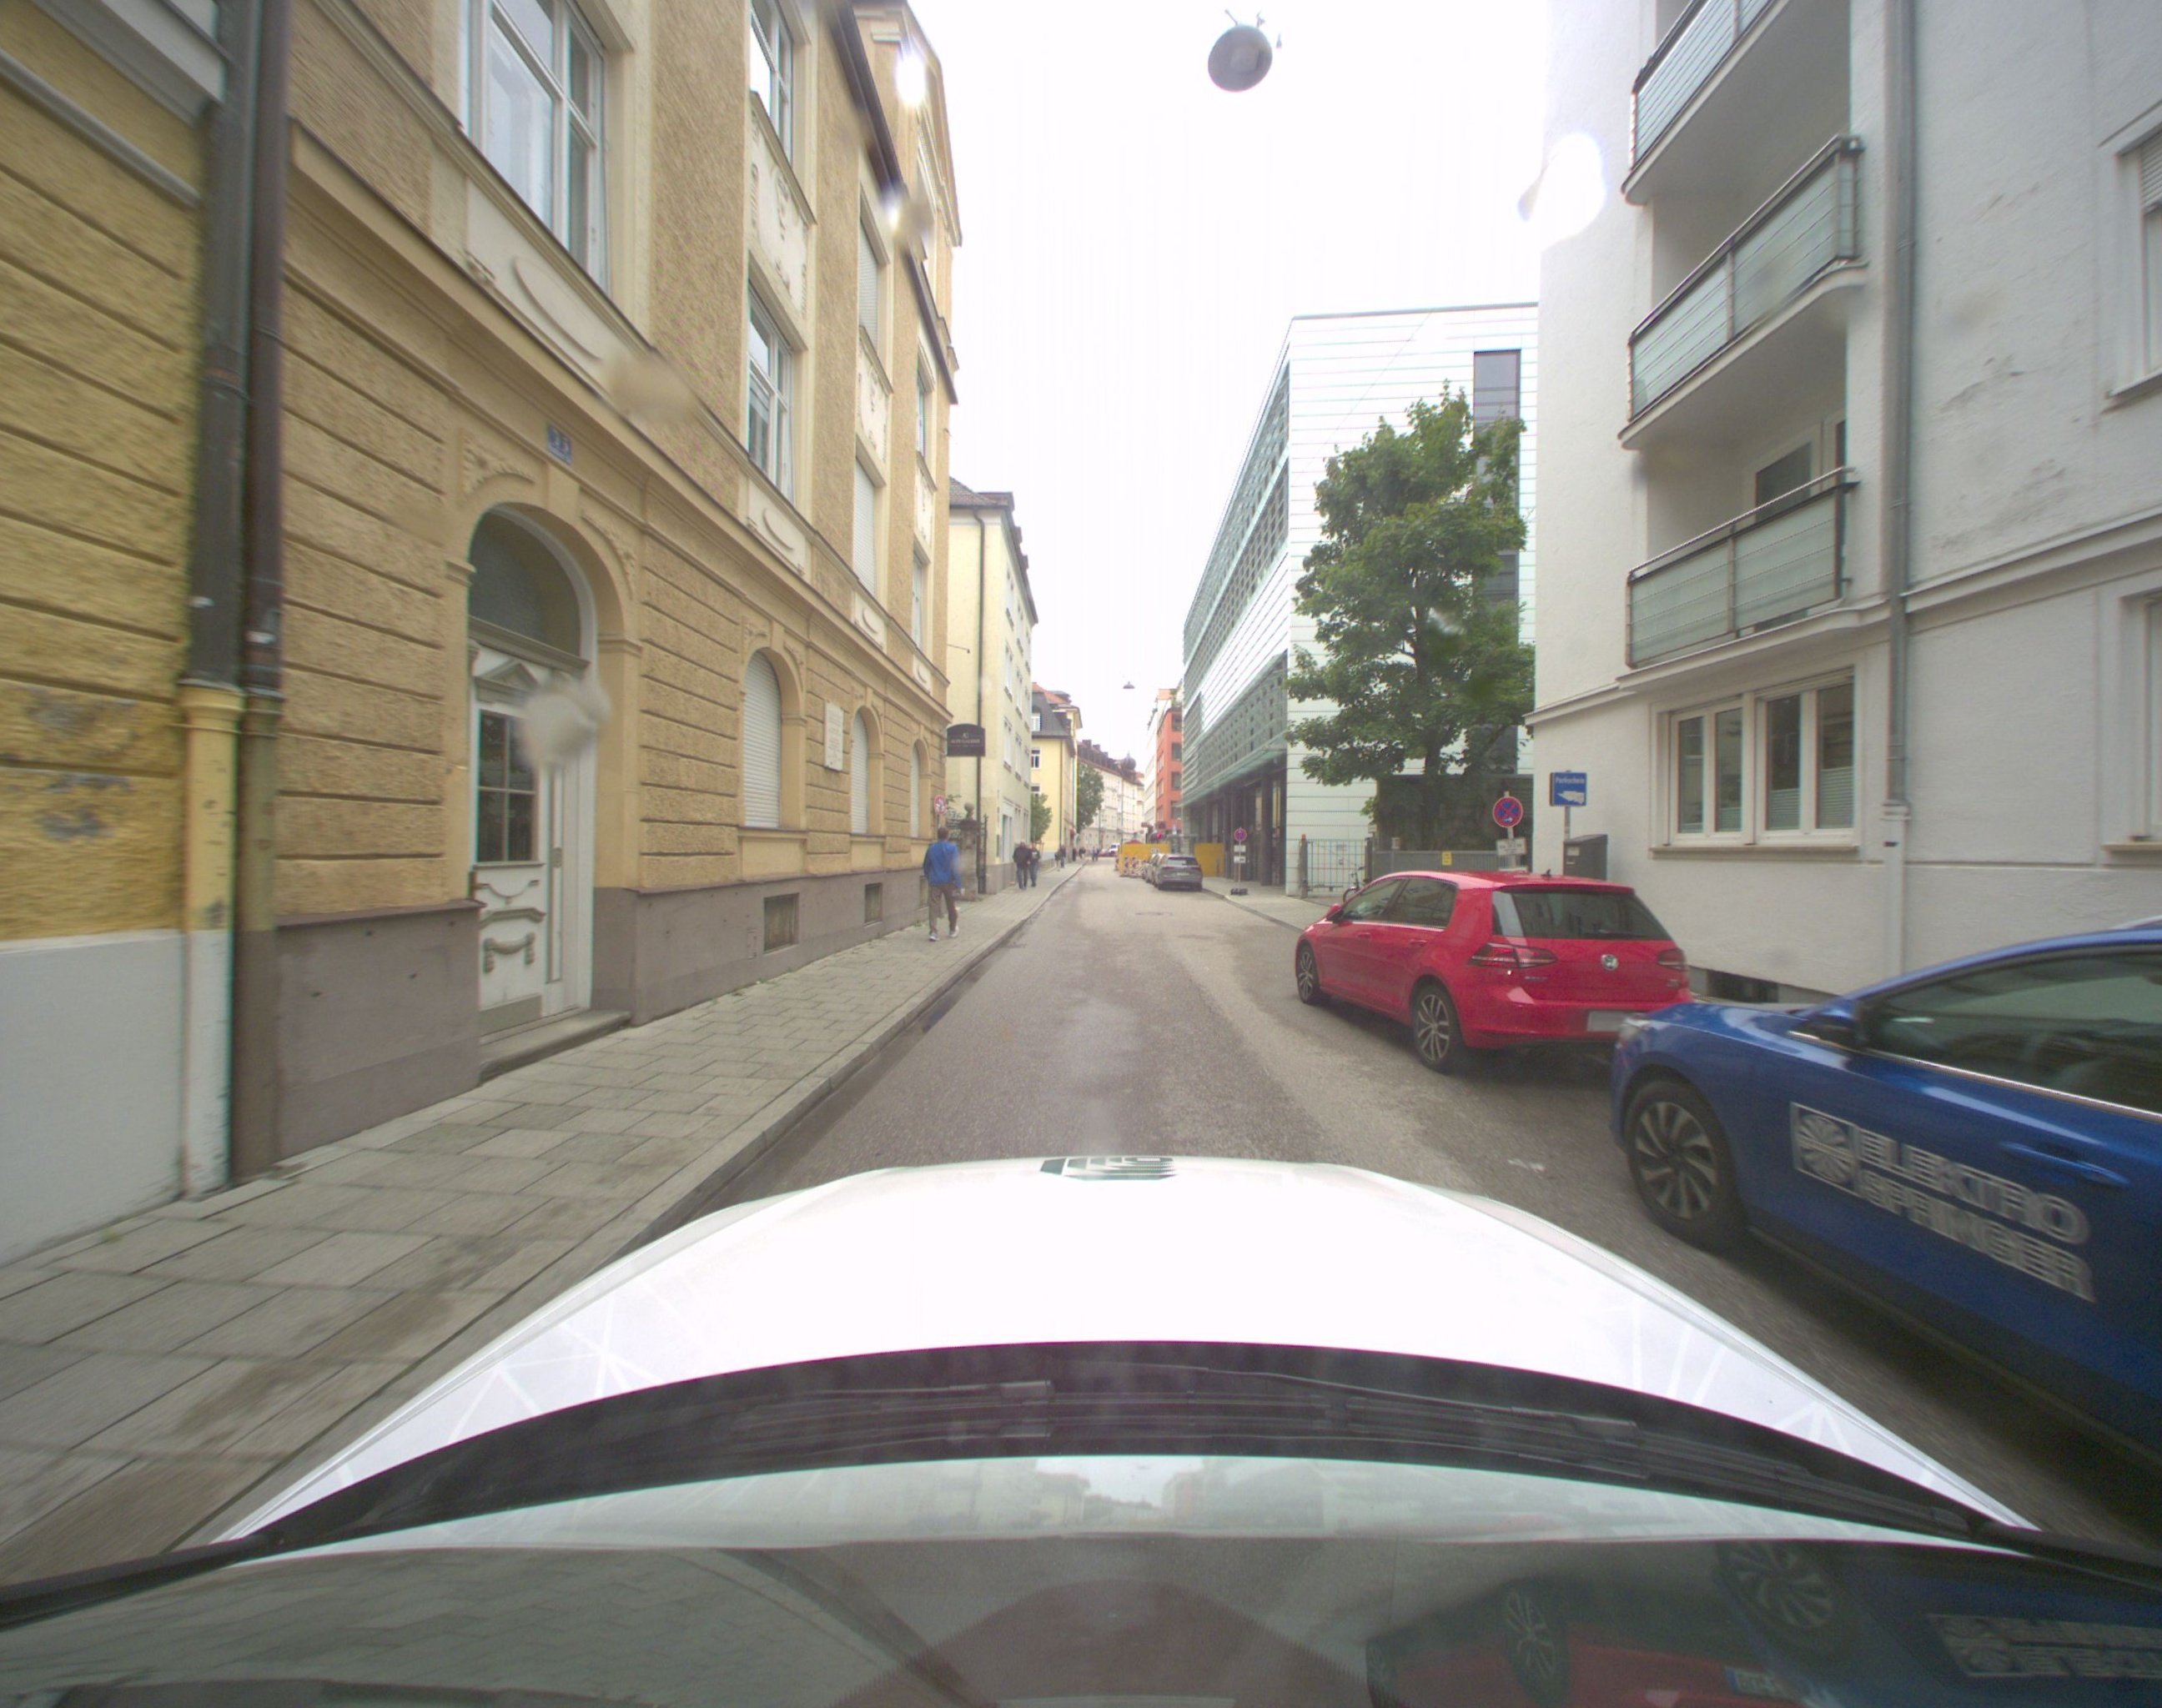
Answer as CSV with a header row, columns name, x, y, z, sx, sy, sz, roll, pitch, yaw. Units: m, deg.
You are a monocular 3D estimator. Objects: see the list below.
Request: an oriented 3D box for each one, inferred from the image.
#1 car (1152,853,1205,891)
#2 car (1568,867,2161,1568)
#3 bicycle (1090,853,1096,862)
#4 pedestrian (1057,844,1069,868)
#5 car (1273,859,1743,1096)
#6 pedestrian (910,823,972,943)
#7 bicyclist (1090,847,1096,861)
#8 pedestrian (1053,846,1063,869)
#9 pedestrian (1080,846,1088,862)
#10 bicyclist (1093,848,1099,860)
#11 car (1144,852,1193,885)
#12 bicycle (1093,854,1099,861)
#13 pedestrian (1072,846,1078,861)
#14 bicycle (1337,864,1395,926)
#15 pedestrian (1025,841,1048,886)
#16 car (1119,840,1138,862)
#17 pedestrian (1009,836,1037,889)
name,x,y,z,sx,sy,sz,roll,pitch,yaw
car,3.942,0.687,33.422,1.702,1.432,4.329,1,0,1
car,3.194,0.812,1.778,1.787,1.438,4.386,2,0,3
bicycle,1.422,0.442,96.972,0.659,1.039,2.005,0,0,1
pedestrian,-1.436,0.188,65.239,0.865,1.881,1.135,1,0,0
car,3.280,0.821,7.389,1.758,1.447,4.292,2,0,-4
pedestrian,-2.263,0.446,13.283,0.754,1.854,1.077,2,0,1
bicyclist,1.430,-0.043,97.030,0.657,1.643,0.895,0,0,1
pedestrian,-1.674,0.241,58.926,0.645,1.676,0.724,1,0,0
pedestrian,0.317,0.013,92.137,0.836,1.700,0.803,1,0,0
bicyclist,1.826,0.001,100.858,0.705,1.371,0.813,0,0,1
car,4.083,0.650,38.716,1.703,1.467,4.233,2,0,-2
bicycle,1.821,0.418,100.988,0.705,0.905,1.810,0,0,1
pedestrian,-0.667,-0.026,92.354,0.668,1.648,0.761,1,0,0
bicycle,6.403,0.889,18.383,0.705,1.198,1.835,0,3,2
pedestrian,-1.735,0.364,31.844,0.710,1.666,0.930,3,0,1
car,5.610,-0.366,96.001,1.987,2.536,4.975,1,0,0
pedestrian,-2.052,0.302,28.857,0.902,1.827,0.956,1,0,0
